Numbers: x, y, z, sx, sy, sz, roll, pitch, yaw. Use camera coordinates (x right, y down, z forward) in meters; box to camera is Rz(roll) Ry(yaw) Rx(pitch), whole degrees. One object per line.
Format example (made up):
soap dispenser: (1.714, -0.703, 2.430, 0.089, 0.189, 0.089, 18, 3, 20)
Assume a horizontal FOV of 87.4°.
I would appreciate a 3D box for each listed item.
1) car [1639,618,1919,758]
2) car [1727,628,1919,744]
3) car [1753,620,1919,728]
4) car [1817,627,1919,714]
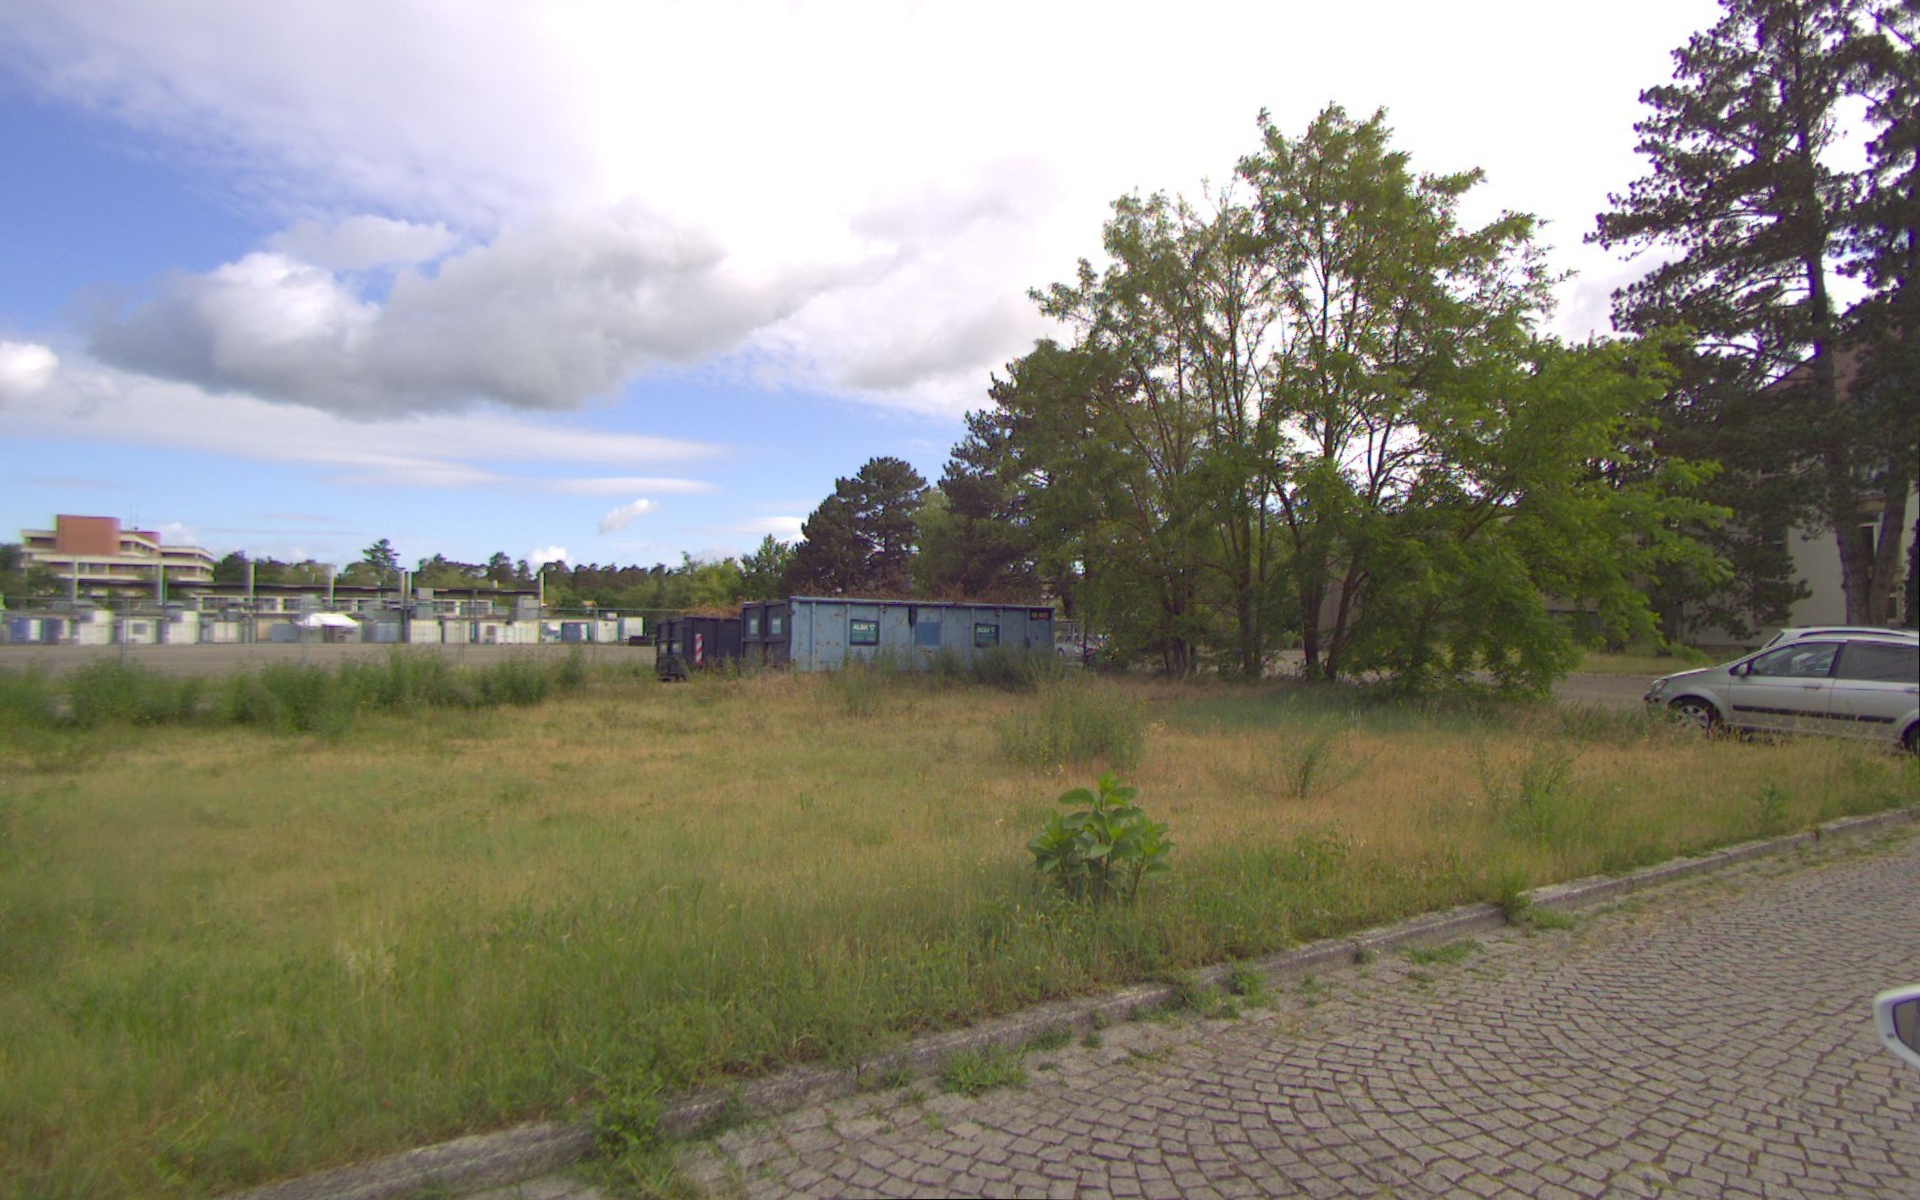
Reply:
car: (11.089, 1.059, 12.831, 1.566, 1.499, 3.680, 1, 1, -34)
car: (13.315, 1.204, 14.106, 1.566, 1.448, 3.723, 1, 1, -34)
car: (15.370, 1.197, 16.046, 1.633, 1.584, 3.923, 1, 1, -34)
car: (17.543, 1.282, 17.295, 1.632, 1.440, 3.926, 1, 1, -31)
